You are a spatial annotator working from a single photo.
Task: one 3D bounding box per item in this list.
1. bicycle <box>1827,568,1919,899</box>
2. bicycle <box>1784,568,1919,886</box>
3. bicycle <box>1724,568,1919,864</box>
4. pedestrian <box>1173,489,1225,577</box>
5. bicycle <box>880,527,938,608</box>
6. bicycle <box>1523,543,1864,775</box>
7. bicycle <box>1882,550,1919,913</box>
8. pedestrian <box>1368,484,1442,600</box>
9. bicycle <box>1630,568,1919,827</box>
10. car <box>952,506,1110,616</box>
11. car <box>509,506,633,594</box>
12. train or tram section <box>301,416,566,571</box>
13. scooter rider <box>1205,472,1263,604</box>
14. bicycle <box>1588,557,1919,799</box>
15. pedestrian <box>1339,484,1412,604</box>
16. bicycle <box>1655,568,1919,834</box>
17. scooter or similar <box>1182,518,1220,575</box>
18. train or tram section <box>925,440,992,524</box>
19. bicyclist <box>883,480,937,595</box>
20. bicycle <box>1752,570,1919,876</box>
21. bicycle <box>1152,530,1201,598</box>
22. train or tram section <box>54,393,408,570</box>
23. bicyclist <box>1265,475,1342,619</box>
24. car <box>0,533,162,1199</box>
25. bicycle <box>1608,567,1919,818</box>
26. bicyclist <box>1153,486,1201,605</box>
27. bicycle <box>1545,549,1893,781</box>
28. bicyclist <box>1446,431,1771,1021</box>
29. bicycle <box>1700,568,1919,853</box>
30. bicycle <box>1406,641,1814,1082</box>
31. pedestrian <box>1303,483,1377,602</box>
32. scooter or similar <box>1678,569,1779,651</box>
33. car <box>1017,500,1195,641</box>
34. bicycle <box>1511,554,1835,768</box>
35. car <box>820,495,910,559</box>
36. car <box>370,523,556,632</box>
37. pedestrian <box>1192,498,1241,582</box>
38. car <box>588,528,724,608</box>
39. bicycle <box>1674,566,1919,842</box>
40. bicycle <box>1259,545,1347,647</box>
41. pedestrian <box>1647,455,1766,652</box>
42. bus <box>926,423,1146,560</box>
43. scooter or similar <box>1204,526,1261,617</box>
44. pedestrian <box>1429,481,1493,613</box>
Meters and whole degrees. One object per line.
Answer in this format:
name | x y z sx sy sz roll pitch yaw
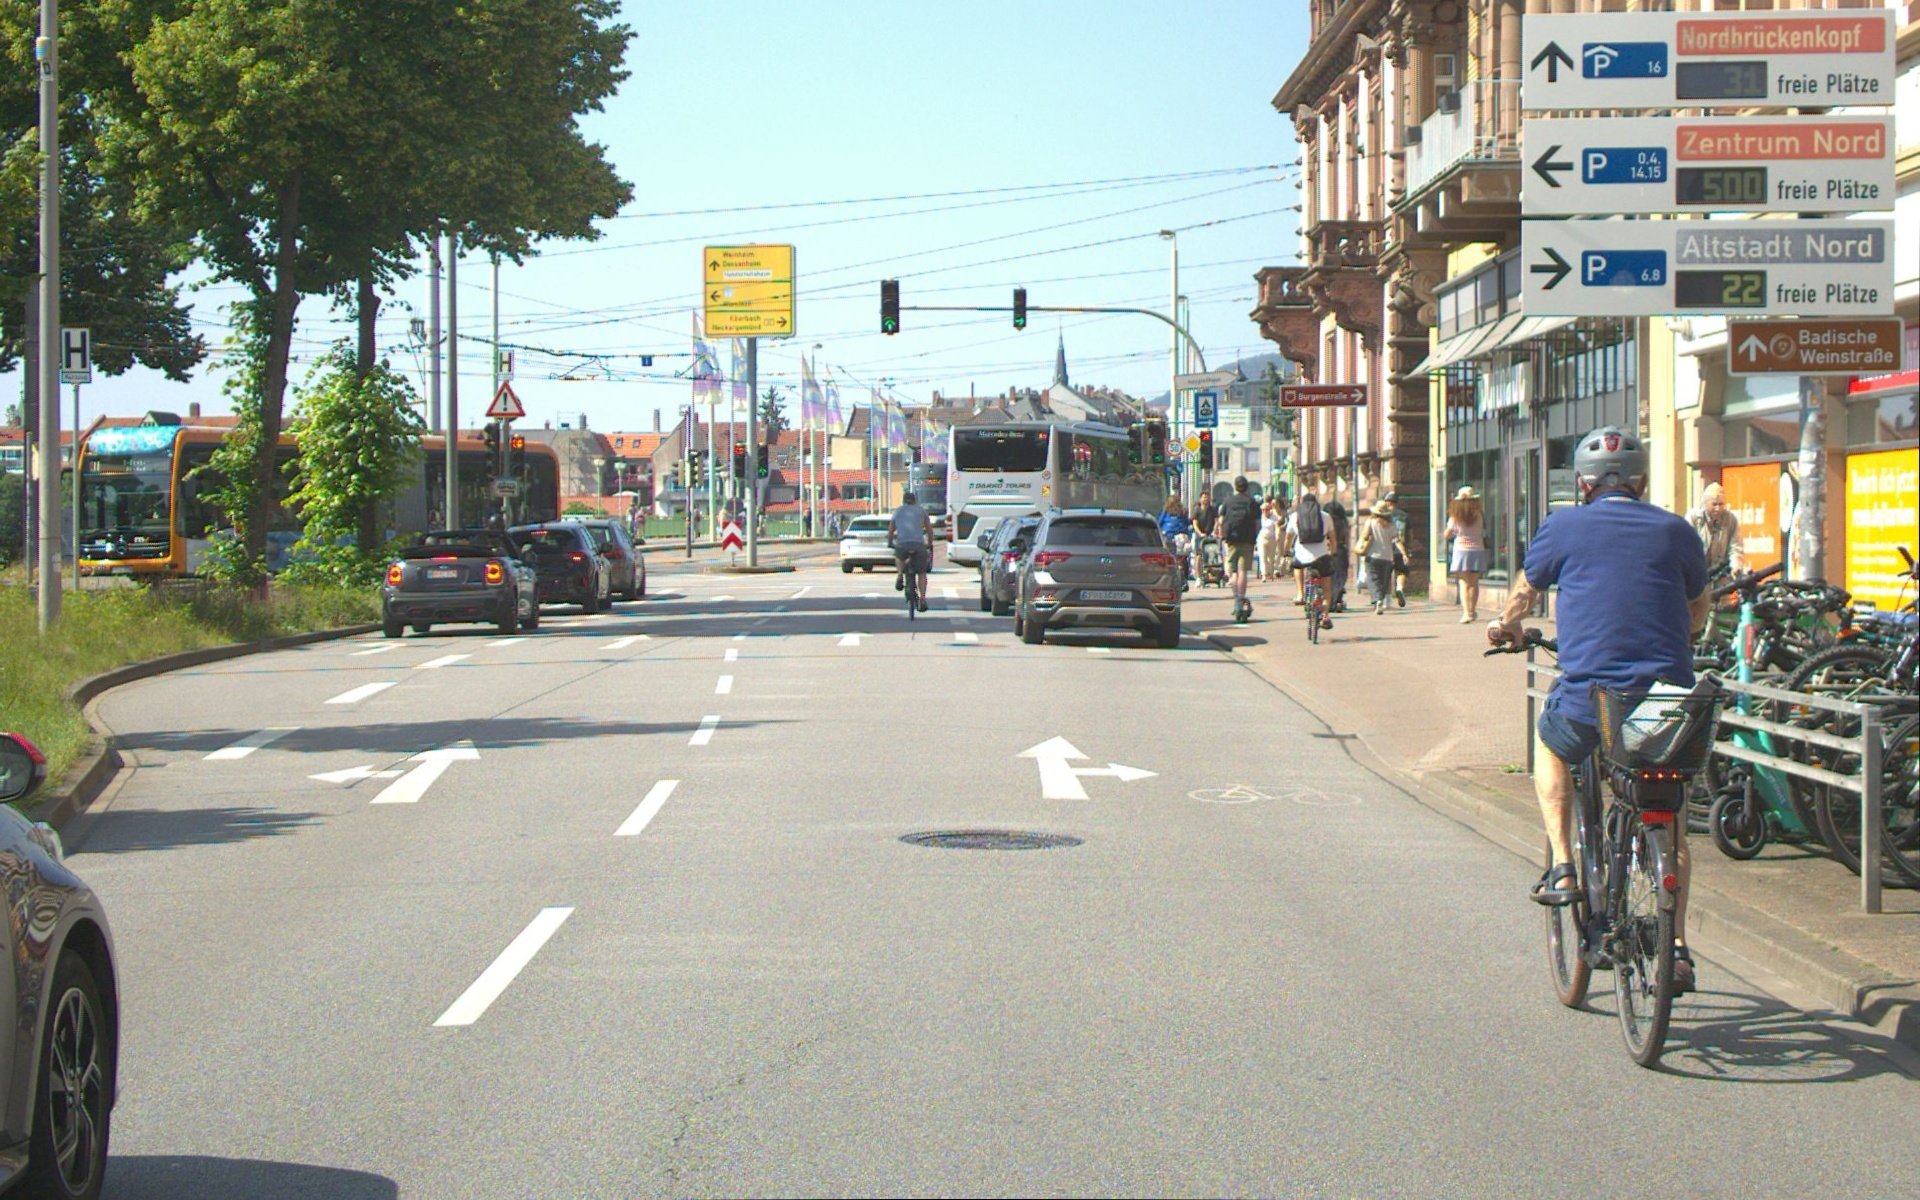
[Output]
bicycle | 4.072 0.491 12.482 1.693 1.174 0.497 1 1 0
bicycle | 4.046 0.488 13.040 1.693 1.174 0.491 1 1 0
bicycle | 4.046 0.477 14.099 1.693 1.174 0.463 1 1 0
pedestrian | 4.594 -1.286 66.142 0.862 1.634 0.876 2 1 -2
bicycle | -0.719 -0.460 48.062 0.734 1.089 1.898 2 1 -2
bicycle | 3.980 0.312 18.716 1.693 1.174 0.608 -2 1 0
bicycle | 4.126 0.465 11.862 1.693 1.236 0.608 1 1 0
pedestrian | 6.404 -0.832 49.544 0.862 1.634 0.876 2 1 -2
bicycle | 4.078 0.458 16.283 1.693 1.174 0.460 1 1 0
car | 1.003 -0.586 50.871 1.993 1.487 4.001 2 1 -3
car | -6.182 -0.800 54.951 1.451 1.296 4.000 2 1 1
train or tram section | -12.883 -2.539 84.976 2.825 3.569 8.217 1 0 20
scooter rider | 3.658 -0.825 45.937 0.688 1.723 0.778 2 1 4
bicycle | 4.094 0.390 17.465 1.693 1.174 0.470 1 1 0
pedestrian | 5.687 -0.770 47.051 0.862 1.634 0.876 0 1 -2
bicycle | 4.091 0.461 15.748 1.693 1.174 0.459 1 1 0
scooter or similar | 4.597 -1.019 65.544 0.600 1.044 0.799 2 1 -2
train or tram section | -0.040 -5.580 163.633 2.822 3.764 8.226 2 1 2
bicyclist | -0.706 -0.873 48.071 0.688 1.571 1.049 2 1 -2
bicycle | 4.042 0.491 13.584 1.693 1.174 0.451 1 1 0
bicycle | 3.609 -0.598 57.319 0.734 1.089 1.898 2 1 2
train or tram section | -15.971 -2.512 76.360 2.825 3.569 10.022 1 0 20
bicyclist | 3.850 -0.597 38.576 0.688 1.571 1.049 2 1 -1
car | -2.737 0.627 5.984 1.777 1.470 4.000 -1 1 -1
bicycle | 4.072 0.445 16.808 1.693 1.174 0.470 1 1 0
bicyclist | 3.616 -0.909 57.313 0.688 1.955 0.778 2 1 2
bicycle | 3.972 0.330 18.062 1.693 1.174 0.608 -1 1 0
bicyclist | 1.861 0.344 9.989 0.688 1.610 0.918 2 1 -1
bicycle | 4.058 0.470 14.617 1.693 1.174 0.457 1 1 0
bicycle | 1.841 0.702 10.032 0.734 1.089 1.911 2 1 -2
pedestrian | 5.361 -0.814 48.512 0.862 1.634 0.876 2 1 -2
scooter or similar | 6.534 0.082 29.246 0.691 0.648 0.565 -3 0 -1
car | 1.641 -0.353 39.832 1.874 1.487 4.000 2 1 1
bicycle | 3.996 0.337 19.349 1.693 1.174 0.608 0 1 0
car | -2.357 -1.817 86.309 1.859 1.502 4.000 2 1 4
car | -6.575 -0.315 45.807 1.815 1.327 4.000 2 1 1
pedestrian | 5.037 -1.188 67.596 0.862 1.634 0.876 0 1 -2
car | -5.480 -0.589 62.377 2.037 1.327 4.000 2 1 1
bicycle | 4.062 0.458 15.166 1.693 1.174 0.514 1 1 0
bicycle | 3.834 -0.061 38.555 0.734 1.089 1.898 2 1 -1
pedestrian | 6.481 -0.398 29.872 0.755 1.650 0.837 -3 0 -1
bus | 1.848 -2.385 77.793 2.971 2.767 8.635 2 1 14
scooter or similar | 3.624 -0.386 45.862 0.688 1.163 1.464 2 1 4
pedestrian | 6.231 -0.664 42.760 0.654 1.615 0.815 -1 2 -2
